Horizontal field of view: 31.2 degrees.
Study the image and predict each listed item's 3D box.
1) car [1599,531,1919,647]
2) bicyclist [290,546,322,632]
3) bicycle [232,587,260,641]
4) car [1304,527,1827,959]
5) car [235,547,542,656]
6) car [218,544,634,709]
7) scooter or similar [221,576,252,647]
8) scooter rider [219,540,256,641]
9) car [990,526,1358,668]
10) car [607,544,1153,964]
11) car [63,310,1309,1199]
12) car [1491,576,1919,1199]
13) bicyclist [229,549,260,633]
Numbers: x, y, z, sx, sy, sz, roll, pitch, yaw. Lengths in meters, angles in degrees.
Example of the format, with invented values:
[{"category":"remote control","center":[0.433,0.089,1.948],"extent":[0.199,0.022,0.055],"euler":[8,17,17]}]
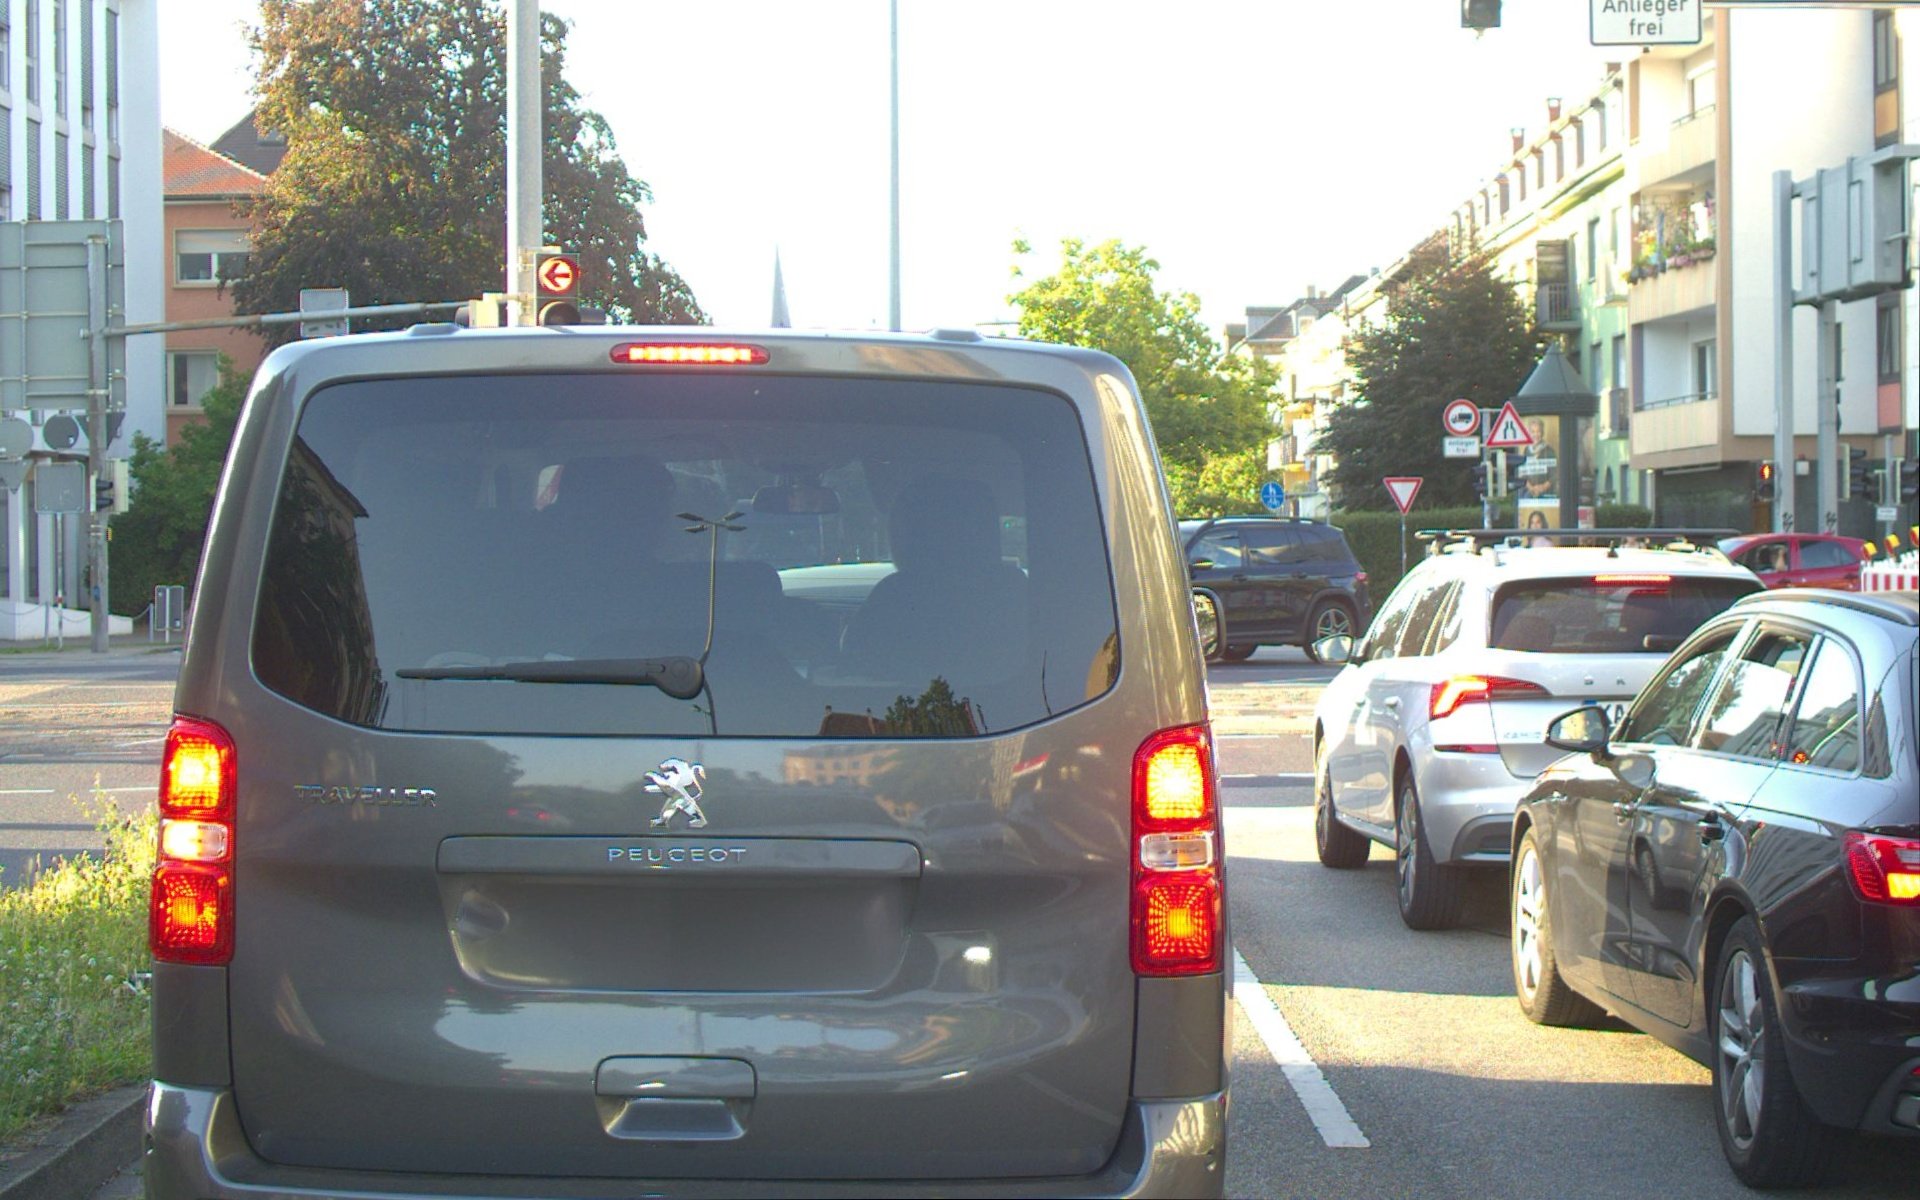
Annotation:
[{"category":"car","center":[10.339,-0.159,43.757],"extent":[3.986,1.413,1.682],"euler":[-1,1,-14]},{"category":"bicyclist","center":[-11.874,-0.202,62.399],"extent":[0.477,1.550,0.509],"euler":[0,1,-1]},{"category":"bicycle","center":[-12.989,0.248,62.531],"extent":[0.291,0.945,1.072],"euler":[0,1,-1]},{"category":"car","center":[2.477,0.510,14.873],"extent":[1.528,1.608,3.745],"euler":[1,1,-1]},{"category":"car","center":[-7.349,0.005,44.520],"extent":[3.815,1.349,1.727],"euler":[-1,1,-6]},{"category":"car","center":[-4.885,0.201,31.959],"extent":[1.679,1.413,3.993],"euler":[0,1,30]},{"category":"scooter or similar","center":[-12.260,0.189,58.293],"extent":[0.285,1.184,1.169],"euler":[0,1,-1]},{"category":"scooter rider","center":[-12.256,-0.164,58.301],"extent":[0.481,1.691,0.636],"euler":[0,1,-1]},{"category":"car","center":[2.432,-0.064,38.649],"extent":[3.988,1.511,1.681],"euler":[-1,1,-37]},{"category":"car","center":[-0.317,0.534,14.624],"extent":[1.993,1.525,4.000],"euler":[0,1,-1]},{"category":"car","center":[-0.456,0.458,7.593],"extent":[1.907,1.857,4.527],"euler":[1,1,-1]},{"category":"car","center":[2.629,0.680,9.220],"extent":[1.681,1.416,4.214],"euler":[1,1,-1]},{"category":"bicyclist","center":[-12.998,-0.162,62.481],"extent":[0.462,1.516,0.469],"euler":[0,1,-1]}]
